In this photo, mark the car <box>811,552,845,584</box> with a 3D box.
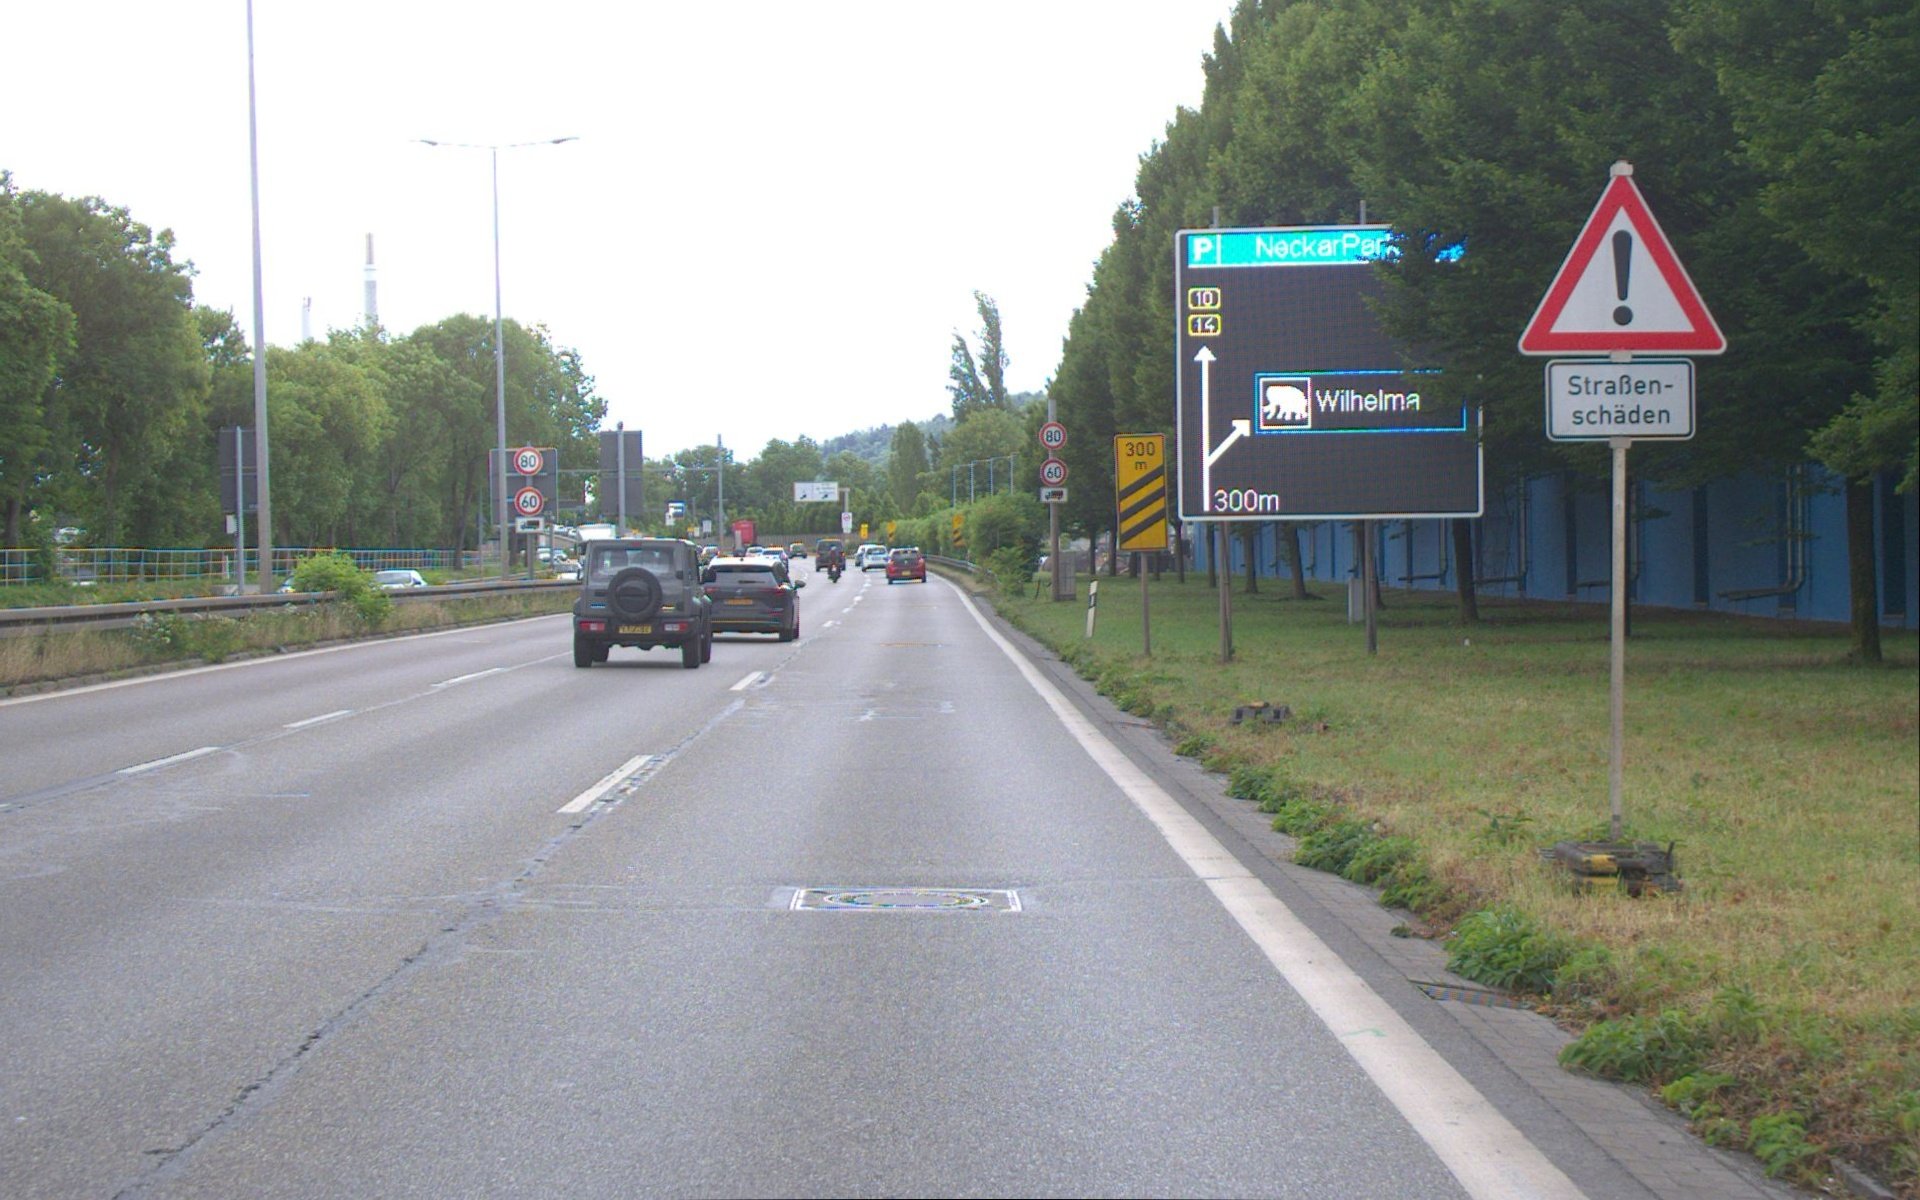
[{"bbox_3d":[-8.380,-2.042,218.557,2.013,1.927,4.901,-2,1,-2],"label":"car"}]

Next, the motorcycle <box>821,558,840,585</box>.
[{"bbox_3d":[-6.031,-1.345,160.158,0.791,1.215,2.330,0,1,-1],"label":"motorcycle"}]

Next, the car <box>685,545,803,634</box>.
[{"bbox_3d":[-3.710,-0.193,59.813,1.845,1.418,4.901,-2,1,-2],"label":"car"}]

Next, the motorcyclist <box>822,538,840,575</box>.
[{"bbox_3d":[-6.020,-2.028,160.200,0.791,1.754,0.923,0,1,0],"label":"motorcyclist"}]

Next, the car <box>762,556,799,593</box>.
[{"bbox_3d":[-8.802,-1.246,168.678,1.697,1.736,4.394,-2,1,-4],"label":"car"}]

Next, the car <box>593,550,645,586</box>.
[{"bbox_3d":[-19.403,-1.823,195.720,2.226,1.941,5.474,-1,1,1],"label":"car"}]

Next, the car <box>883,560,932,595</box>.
[{"bbox_3d":[-2.289,-0.996,149.221,1.974,1.418,4.901,-2,1,-2],"label":"car"}]

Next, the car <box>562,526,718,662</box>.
[{"bbox_3d":[-4.211,-0.110,45.722,1.697,1.680,4.000,2,1,-1],"label":"car"}]

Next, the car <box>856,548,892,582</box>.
[{"bbox_3d":[-5.123,-2.066,203.941,2.013,1.927,4.901,-2,1,-2],"label":"car"}]

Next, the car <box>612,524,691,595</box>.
[{"bbox_3d":[-7.839,-1.047,87.606,1.697,1.736,4.000,2,1,-2],"label":"car"}]

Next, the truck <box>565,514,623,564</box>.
[{"bbox_3d":[-26.628,-4.452,250.216,2.889,3.566,9.587,-1,1,1],"label":"truck"}]
